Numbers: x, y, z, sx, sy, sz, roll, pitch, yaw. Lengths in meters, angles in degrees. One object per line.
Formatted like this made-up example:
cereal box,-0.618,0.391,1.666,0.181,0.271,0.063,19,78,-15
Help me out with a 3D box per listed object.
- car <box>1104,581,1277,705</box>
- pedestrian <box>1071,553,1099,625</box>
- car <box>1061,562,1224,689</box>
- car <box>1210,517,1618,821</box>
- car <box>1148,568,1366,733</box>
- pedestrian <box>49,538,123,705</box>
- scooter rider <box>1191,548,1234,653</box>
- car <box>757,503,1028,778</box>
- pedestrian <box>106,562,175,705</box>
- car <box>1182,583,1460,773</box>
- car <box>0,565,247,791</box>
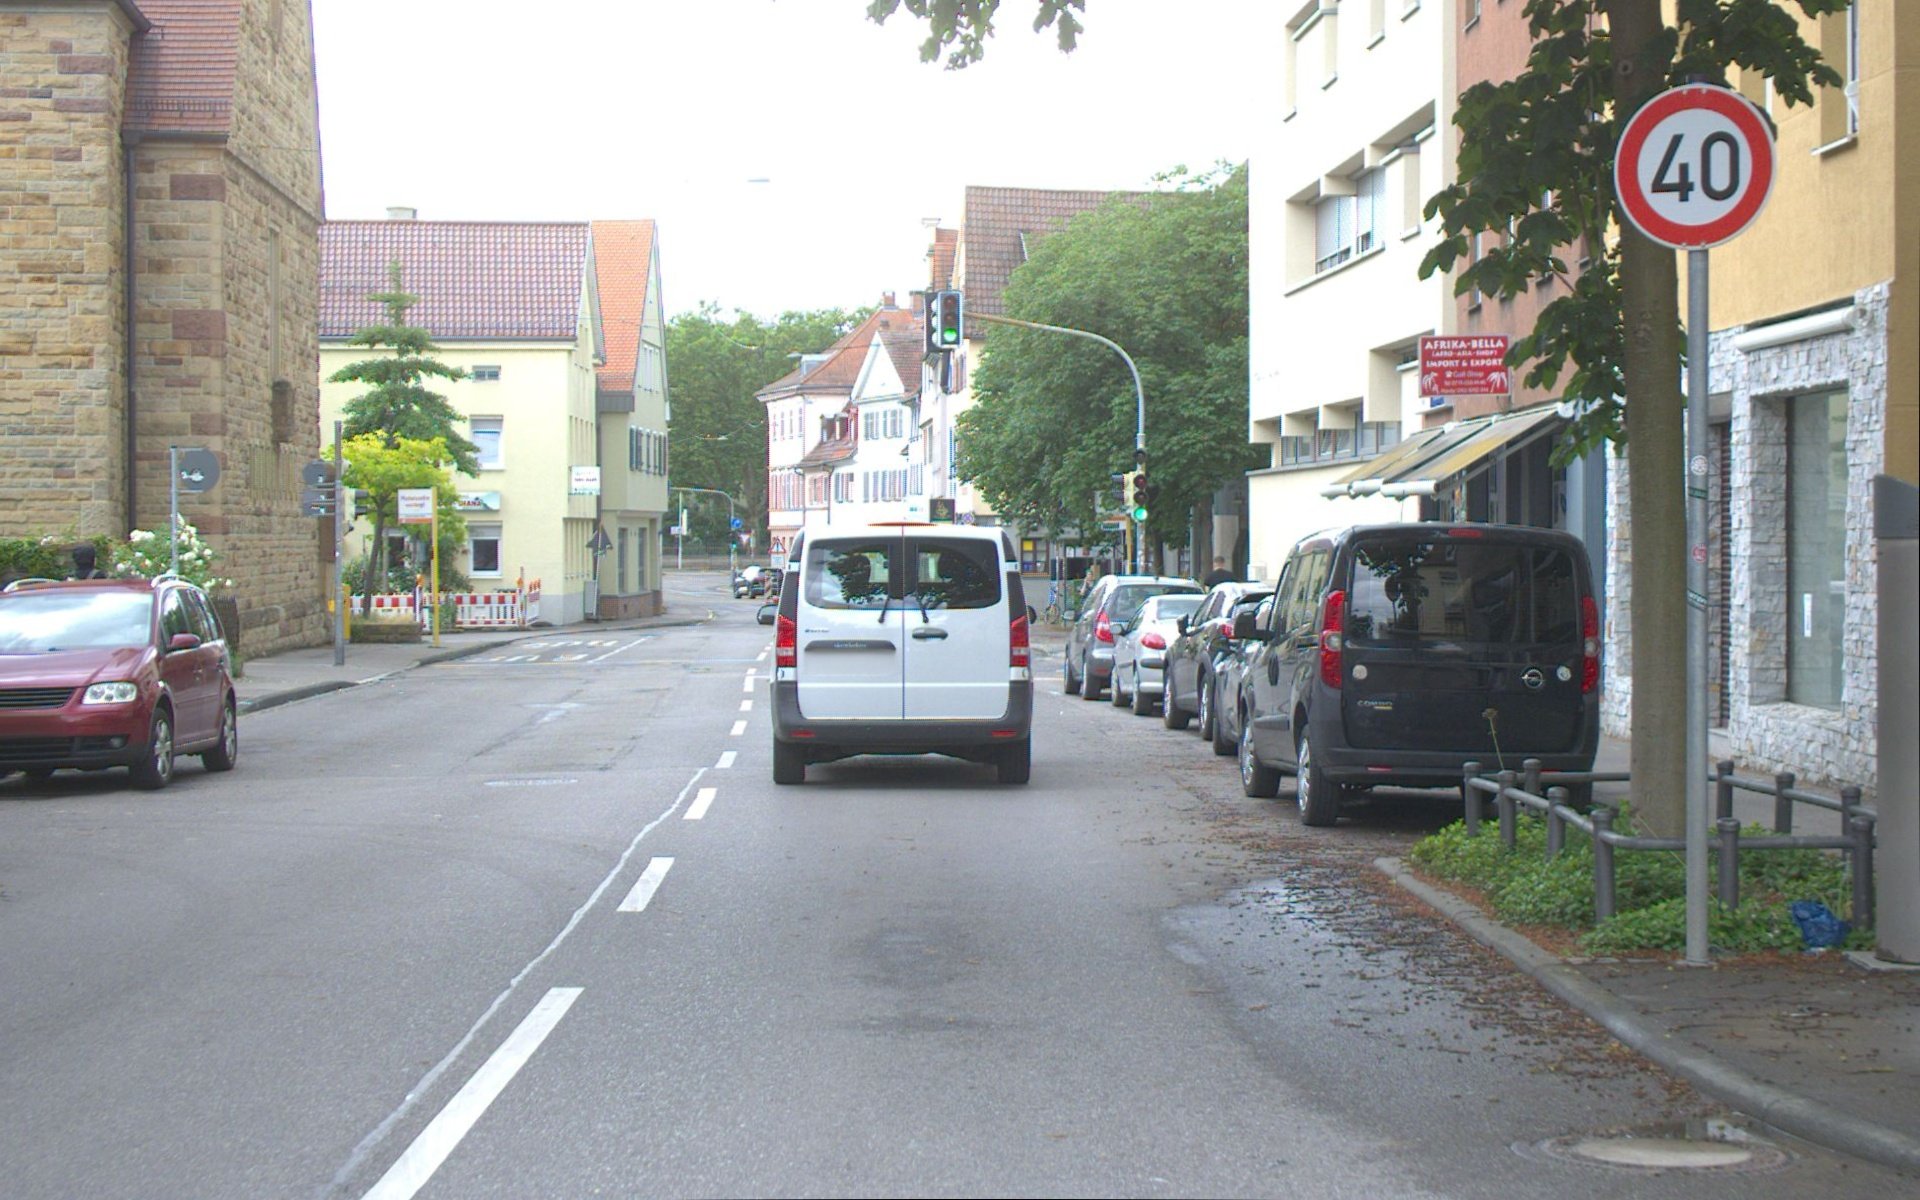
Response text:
car,2.616,0.460,39.753,1.551,1.328,3.813,0,1,-3
pedestrian,2.994,-0.258,82.297,0.602,1.710,0.859,0,1,5
car,2.310,0.296,44.337,1.711,1.555,3.786,0,1,-3
car,2.832,0.385,22.412,1.819,1.775,4.404,0,1,-3
car,2.898,0.451,34.333,1.601,1.513,4.209,-1,1,-3
pedestrian,-9.869,0.237,38.838,0.571,1.842,0.697,3,1,-1
scooter rider,3.979,0.014,54.189,0.452,1.626,0.505,-3,-1,-16
car,-0.502,0.272,25.935,1.872,1.905,4.000,0,0,-1
pedestrian,-9.071,0.362,38.062,0.571,1.549,0.697,2,1,-1
car,2.920,0.587,28.668,1.751,1.401,4.511,-1,1,-1
car,-6.969,0.563,27.584,1.702,1.568,4.451,-2,1,-2
